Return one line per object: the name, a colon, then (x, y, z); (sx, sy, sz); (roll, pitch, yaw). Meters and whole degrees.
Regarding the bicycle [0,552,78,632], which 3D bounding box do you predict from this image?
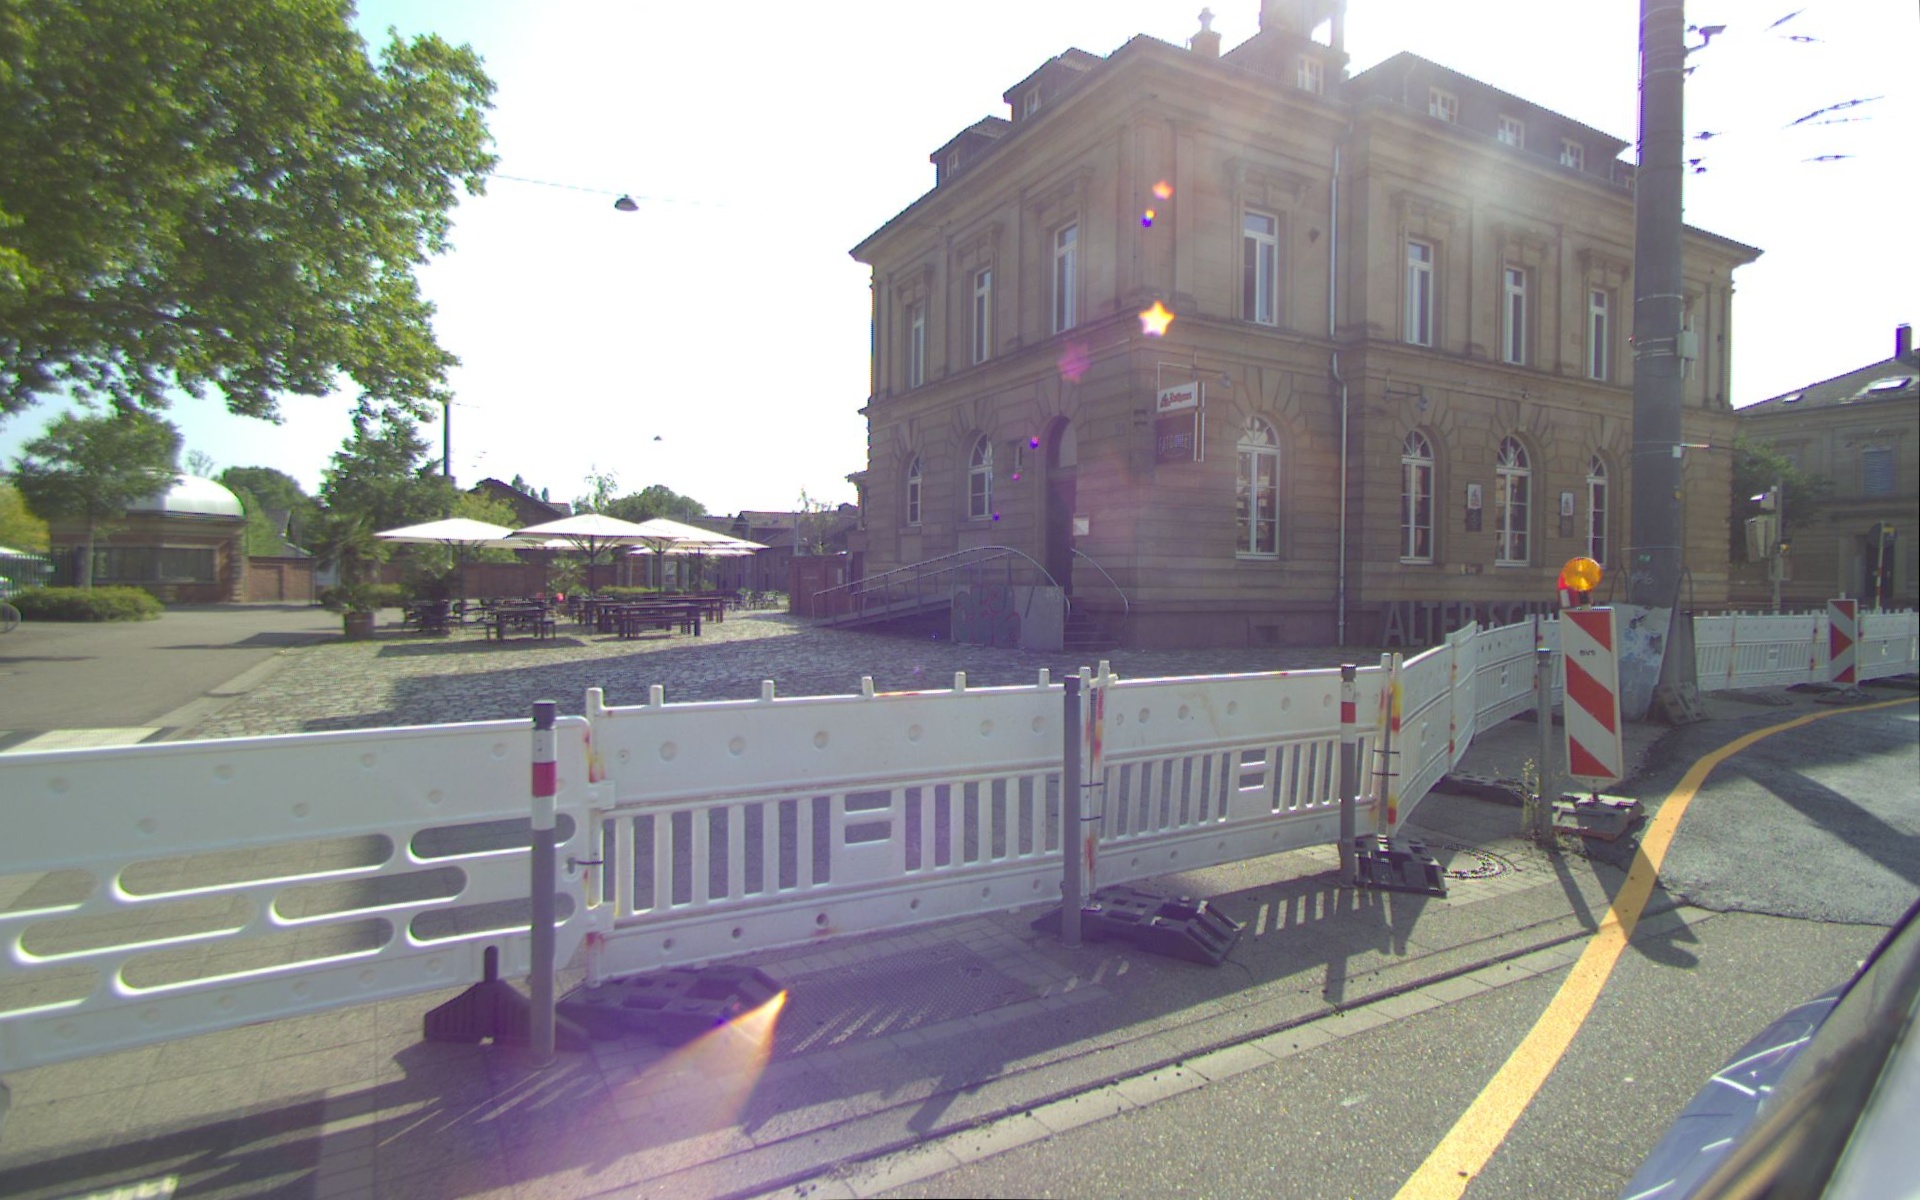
bicycle: (-22.483, -0.181, 23.273); (3.220, 1.825, 0.850); (0, 1, -30)
